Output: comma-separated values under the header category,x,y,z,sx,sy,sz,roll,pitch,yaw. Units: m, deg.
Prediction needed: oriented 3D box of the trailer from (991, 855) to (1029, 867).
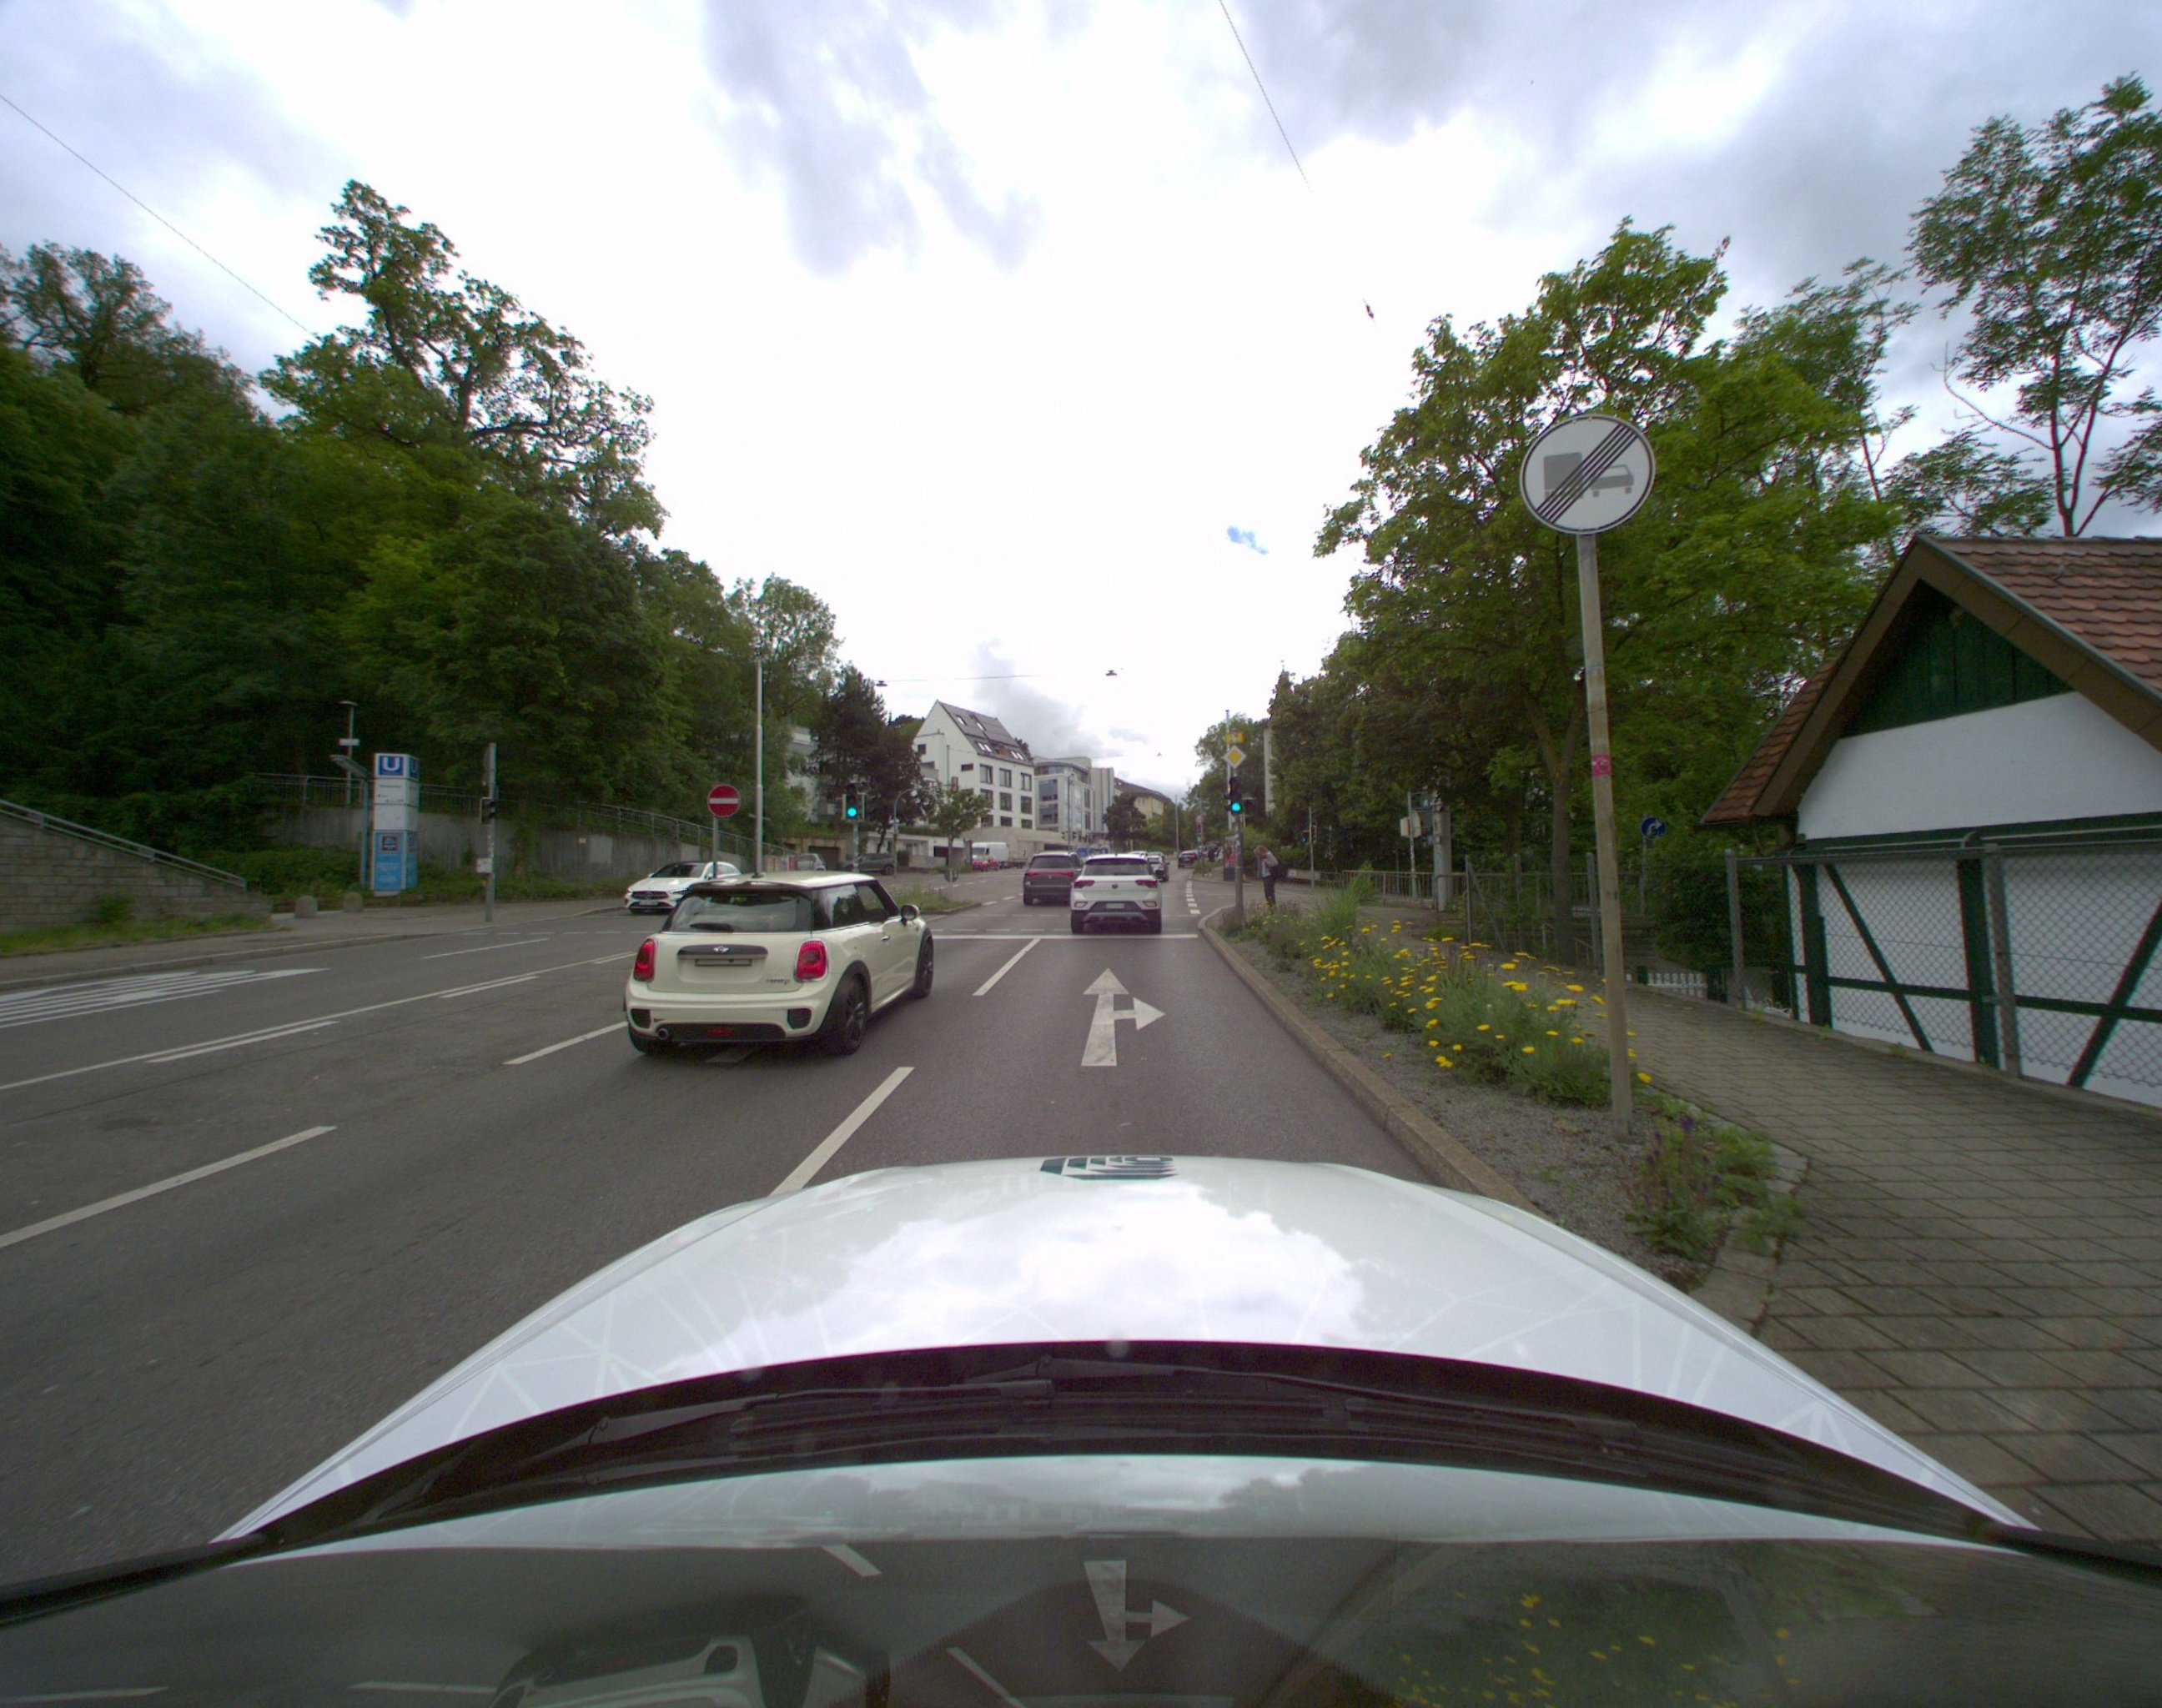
category,x,y,z,sx,sy,sz,roll,pitch,yaw
trailer,-7.303,0.715,84.190,2.229,1.112,4.643,-1,0,17

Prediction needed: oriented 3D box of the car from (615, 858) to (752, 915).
category,x,y,z,sx,sy,sz,roll,pitch,yaw
car,-11.380,0.863,23.727,1.712,1.393,4.608,-1,0,0

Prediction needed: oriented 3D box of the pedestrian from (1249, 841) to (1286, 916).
category,x,y,z,sx,sy,sz,roll,pitch,yaw
pedestrian,4.322,0.562,18.862,0.687,1.689,0.623,-2,-1,23

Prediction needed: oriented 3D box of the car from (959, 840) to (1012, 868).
category,x,y,z,sx,sy,sz,roll,pitch,yaw
car,-9.094,-0.018,78.413,2.214,2.568,7.456,-1,0,17

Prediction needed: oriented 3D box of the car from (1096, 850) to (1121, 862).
category,x,y,z,sx,sy,sz,roll,pitch,yaw
car,3.222,0.243,95.827,1.637,1.393,4.166,2,0,21

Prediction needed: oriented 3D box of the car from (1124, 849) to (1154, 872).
category,x,y,z,sx,sy,sz,roll,pitch,yaw
car,4.746,0.497,65.543,1.846,1.652,4.650,-2,0,11

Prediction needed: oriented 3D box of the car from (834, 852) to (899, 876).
category,x,y,z,sx,sy,sz,roll,pitch,yaw
car,-14.786,0.646,56.242,4.139,1.540,1.586,-1,0,-25

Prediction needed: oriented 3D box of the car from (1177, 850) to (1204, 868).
category,x,y,z,sx,sy,sz,roll,pitch,yaw
car,10.350,0.472,76.516,1.859,1.501,4.574,2,0,15

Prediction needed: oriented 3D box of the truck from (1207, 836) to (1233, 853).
category,x,y,z,sx,sy,sz,roll,pitch,yaw
truck,25.377,-1.655,148.500,2.935,2.971,9.026,0,1,21

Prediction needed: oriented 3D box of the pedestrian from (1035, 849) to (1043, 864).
category,x,y,z,sx,sy,sz,roll,pitch,yaw
pedestrian,-4.756,0.257,92.723,0.678,1.640,0.665,1,0,-31

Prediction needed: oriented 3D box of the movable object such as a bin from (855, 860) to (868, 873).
category,x,y,z,sx,sy,sz,roll,pitch,yaw
movable object such as a bin,-17.047,0.962,63.278,0.633,1.012,0.735,0,0,37

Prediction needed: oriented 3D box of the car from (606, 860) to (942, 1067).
category,x,y,z,sx,sy,sz,roll,pitch,yaw
car,-2.512,0.805,7.624,1.621,1.393,3.568,-2,0,2

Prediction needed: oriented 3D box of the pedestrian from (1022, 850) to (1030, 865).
category,x,y,z,sx,sy,sz,roll,pitch,yaw
pedestrian,-6.113,0.363,90.293,0.620,1.640,0.676,1,0,23

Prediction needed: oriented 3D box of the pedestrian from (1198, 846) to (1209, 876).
category,x,y,z,sx,sy,sz,roll,pitch,yaw
pedestrian,7.639,0.438,50.838,0.689,1.834,0.621,0,0,9

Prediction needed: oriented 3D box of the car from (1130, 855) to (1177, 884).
category,x,y,z,sx,sy,sz,roll,pitch,yaw
car,4.163,0.820,45.854,1.859,1.501,4.573,2,0,15

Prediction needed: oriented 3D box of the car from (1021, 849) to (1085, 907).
category,x,y,z,sx,sy,sz,roll,pitch,yaw
car,-0.827,0.696,26.448,1.806,1.652,4.636,-2,0,1

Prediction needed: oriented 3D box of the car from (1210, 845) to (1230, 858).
category,x,y,z,sx,sy,sz,roll,pitch,yaw
car,17.529,-0.306,102.293,1.843,1.500,4.075,-2,0,18

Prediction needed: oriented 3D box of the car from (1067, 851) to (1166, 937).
category,x,y,z,sx,sy,sz,roll,pitch,yaw
car,0.660,0.731,16.967,1.806,1.539,3.689,-2,0,0

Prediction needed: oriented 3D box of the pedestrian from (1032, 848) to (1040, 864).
category,x,y,z,sx,sy,sz,roll,pitch,yaw
pedestrian,-5.053,0.205,91.656,0.678,1.840,0.665,1,0,-31

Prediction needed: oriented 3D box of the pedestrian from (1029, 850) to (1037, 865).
category,x,y,z,sx,sy,sz,roll,pitch,yaw
pedestrian,-5.333,0.358,90.534,0.678,1.640,0.665,1,0,-31

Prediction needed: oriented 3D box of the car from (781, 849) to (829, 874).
category,x,y,z,sx,sy,sz,roll,pitch,yaw
car,-17.518,0.488,51.677,2.713,1.520,1.552,2,-1,-22

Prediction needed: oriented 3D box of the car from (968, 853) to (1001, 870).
category,x,y,z,sx,sy,sz,roll,pitch,yaw
car,-8.450,0.637,71.478,1.610,1.465,3.941,-1,0,13
